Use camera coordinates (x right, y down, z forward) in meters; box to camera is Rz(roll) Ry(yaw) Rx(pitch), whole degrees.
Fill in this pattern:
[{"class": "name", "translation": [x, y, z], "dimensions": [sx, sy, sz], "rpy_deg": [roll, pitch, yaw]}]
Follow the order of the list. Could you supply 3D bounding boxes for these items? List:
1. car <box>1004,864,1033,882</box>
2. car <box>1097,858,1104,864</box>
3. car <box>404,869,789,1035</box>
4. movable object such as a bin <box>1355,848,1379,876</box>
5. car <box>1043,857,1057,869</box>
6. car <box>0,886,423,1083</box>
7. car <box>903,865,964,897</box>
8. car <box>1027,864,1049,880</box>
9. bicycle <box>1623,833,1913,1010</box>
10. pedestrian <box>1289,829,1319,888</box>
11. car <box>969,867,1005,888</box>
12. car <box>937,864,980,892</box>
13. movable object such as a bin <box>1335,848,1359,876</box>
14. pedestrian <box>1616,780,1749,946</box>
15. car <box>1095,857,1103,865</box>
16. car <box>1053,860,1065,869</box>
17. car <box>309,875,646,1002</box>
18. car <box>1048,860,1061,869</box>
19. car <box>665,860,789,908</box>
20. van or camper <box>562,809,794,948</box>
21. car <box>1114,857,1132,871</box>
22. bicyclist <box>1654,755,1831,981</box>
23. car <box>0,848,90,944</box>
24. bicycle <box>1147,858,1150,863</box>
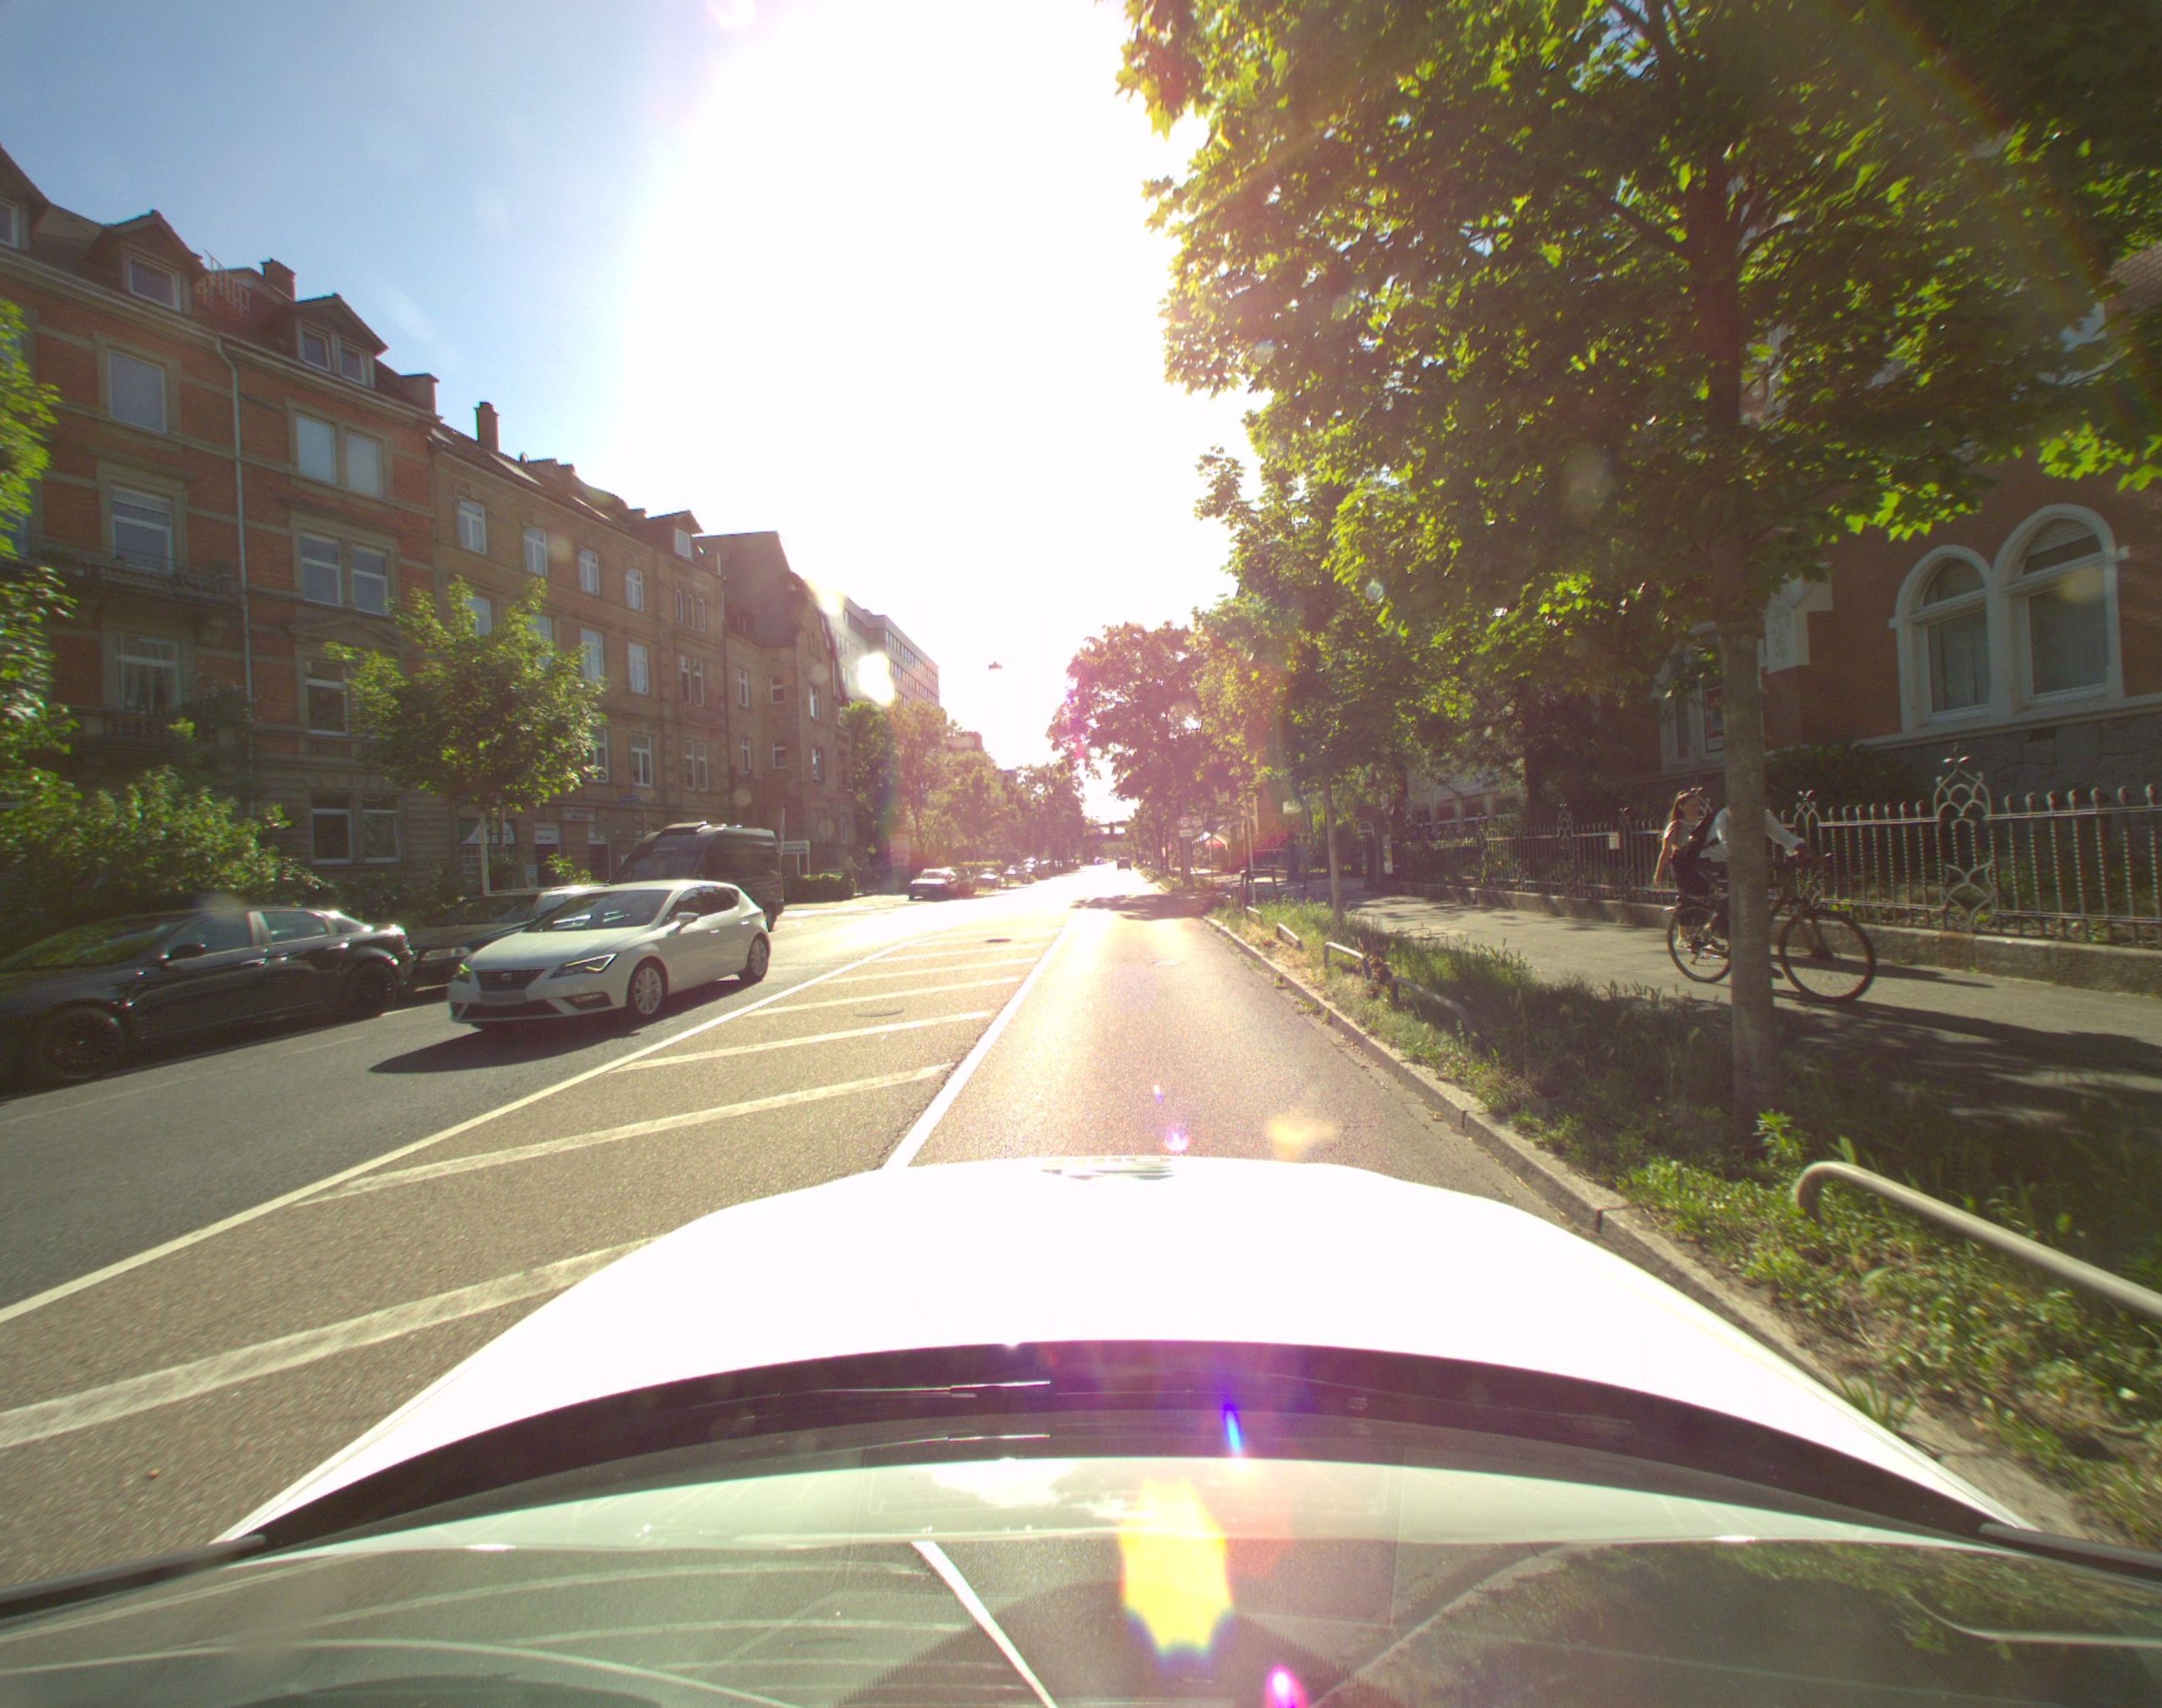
[{"class": "car", "translation": [-5.312, 1.587, 69.611], "dimensions": [1.680, 1.383, 4.197], "rpy_deg": [-1, 0, 5]}, {"class": "car", "translation": [5.553, 1.995, 231.805], "dimensions": [1.849, 1.568, 4.717], "rpy_deg": [-4, -1, 2]}, {"class": "car", "translation": [-5.330, 0.965, 9.779], "dimensions": [1.911, 1.419, 4.227], "rpy_deg": [-3, 0, 2]}, {"class": "movable object such as a bin", "translation": [10.580, 0.290, 30.142], "dimensions": [0.622, 0.965, 0.667], "rpy_deg": [-5, -1, 2]}, {"class": "car", "translation": [-4.900, 1.474, 129.745], "dimensions": [1.849, 1.850, 4.563], "rpy_deg": [-1, 0, 2]}, {"class": "car", "translation": [-9.350, 1.162, 8.128], "dimensions": [1.773, 1.413, 4.408], "rpy_deg": [-4, 0, 3]}, {"class": "car", "translation": [-7.291, 1.311, 40.693], "dimensions": [1.848, 1.427, 4.724], "rpy_deg": [2, 0, 4]}, {"class": "car", "translation": [-4.285, 1.775, 81.246], "dimensions": [1.704, 1.459, 4.076], "rpy_deg": [-1, 0, 4]}, {"class": "bicycle", "translation": [5.421, 0.475, 6.628], "dimensions": [0.614, 1.176, 1.918], "rpy_deg": [-5, 0, -1]}, {"class": "pedestrian", "translation": [7.036, 0.140, 25.706], "dimensions": [0.742, 1.787, 0.814], "rpy_deg": [-5, -1, 16]}, {"class": "car", "translation": [-6.194, 1.512, 53.920], "dimensions": [1.671, 1.255, 4.018], "rpy_deg": [-1, 0, 3]}, {"class": "car", "translation": [-6.905, 1.333, 46.265], "dimensions": [1.851, 1.494, 4.702], "rpy_deg": [1, -1, -2]}, {"class": "movable object such as a bin", "translation": [9.865, 0.297, 30.208], "dimensions": [0.622, 0.965, 0.667], "rpy_deg": [-5, -1, 2]}, {"class": "pedestrian", "translation": [6.500, 0.100, 8.852], "dimensions": [0.692, 1.658, 0.820], "rpy_deg": [-5, -1, 2]}, {"class": "car", "translation": [4.470, 1.789, 198.122], "dimensions": [1.849, 1.825, 4.611], "rpy_deg": [-4, -1, 1]}, {"class": "car", "translation": [-4.019, 1.844, 147.306], "dimensions": [1.849, 1.523, 4.320], "rpy_deg": [-1, 0, 2]}, {"class": "car", "translation": [-9.208, 1.183, 13.065], "dimensions": [1.687, 1.456, 4.666], "rpy_deg": [-4, 0, 3]}, {"class": "car", "translation": [-4.525, 1.781, 137.833], "dimensions": [1.848, 1.568, 3.875], "rpy_deg": [-1, 0, 3]}, {"class": "car", "translation": [-13.685, 1.123, 31.523], "dimensions": [4.157, 1.670, 1.981], "rpy_deg": [1, 1, -31]}, {"class": "van or camper", "translation": [-9.258, 0.509, 19.557], "dimensions": [2.207, 2.739, 6.092], "rpy_deg": [-2, 0, 3]}, {"class": "car", "translation": [5.040, 1.147, 97.750], "dimensions": [1.977, 1.600, 4.141], "rpy_deg": [-2, 0, 1]}, {"class": "bicyclist", "translation": [5.378, 0.106, 6.675], "dimensions": [0.618, 1.690, 0.820], "rpy_deg": [-5, 0, -1]}, {"class": "car", "translation": [-22.891, 0.892, 15.712], "dimensions": [1.842, 1.914, 4.478], "rpy_deg": [-4, -2, 27]}, {"class": "bicycle", "translation": [13.761, 1.277, 166.300], "dimensions": [0.587, 1.027, 1.861], "rpy_deg": [-2, -1, 2]}]
